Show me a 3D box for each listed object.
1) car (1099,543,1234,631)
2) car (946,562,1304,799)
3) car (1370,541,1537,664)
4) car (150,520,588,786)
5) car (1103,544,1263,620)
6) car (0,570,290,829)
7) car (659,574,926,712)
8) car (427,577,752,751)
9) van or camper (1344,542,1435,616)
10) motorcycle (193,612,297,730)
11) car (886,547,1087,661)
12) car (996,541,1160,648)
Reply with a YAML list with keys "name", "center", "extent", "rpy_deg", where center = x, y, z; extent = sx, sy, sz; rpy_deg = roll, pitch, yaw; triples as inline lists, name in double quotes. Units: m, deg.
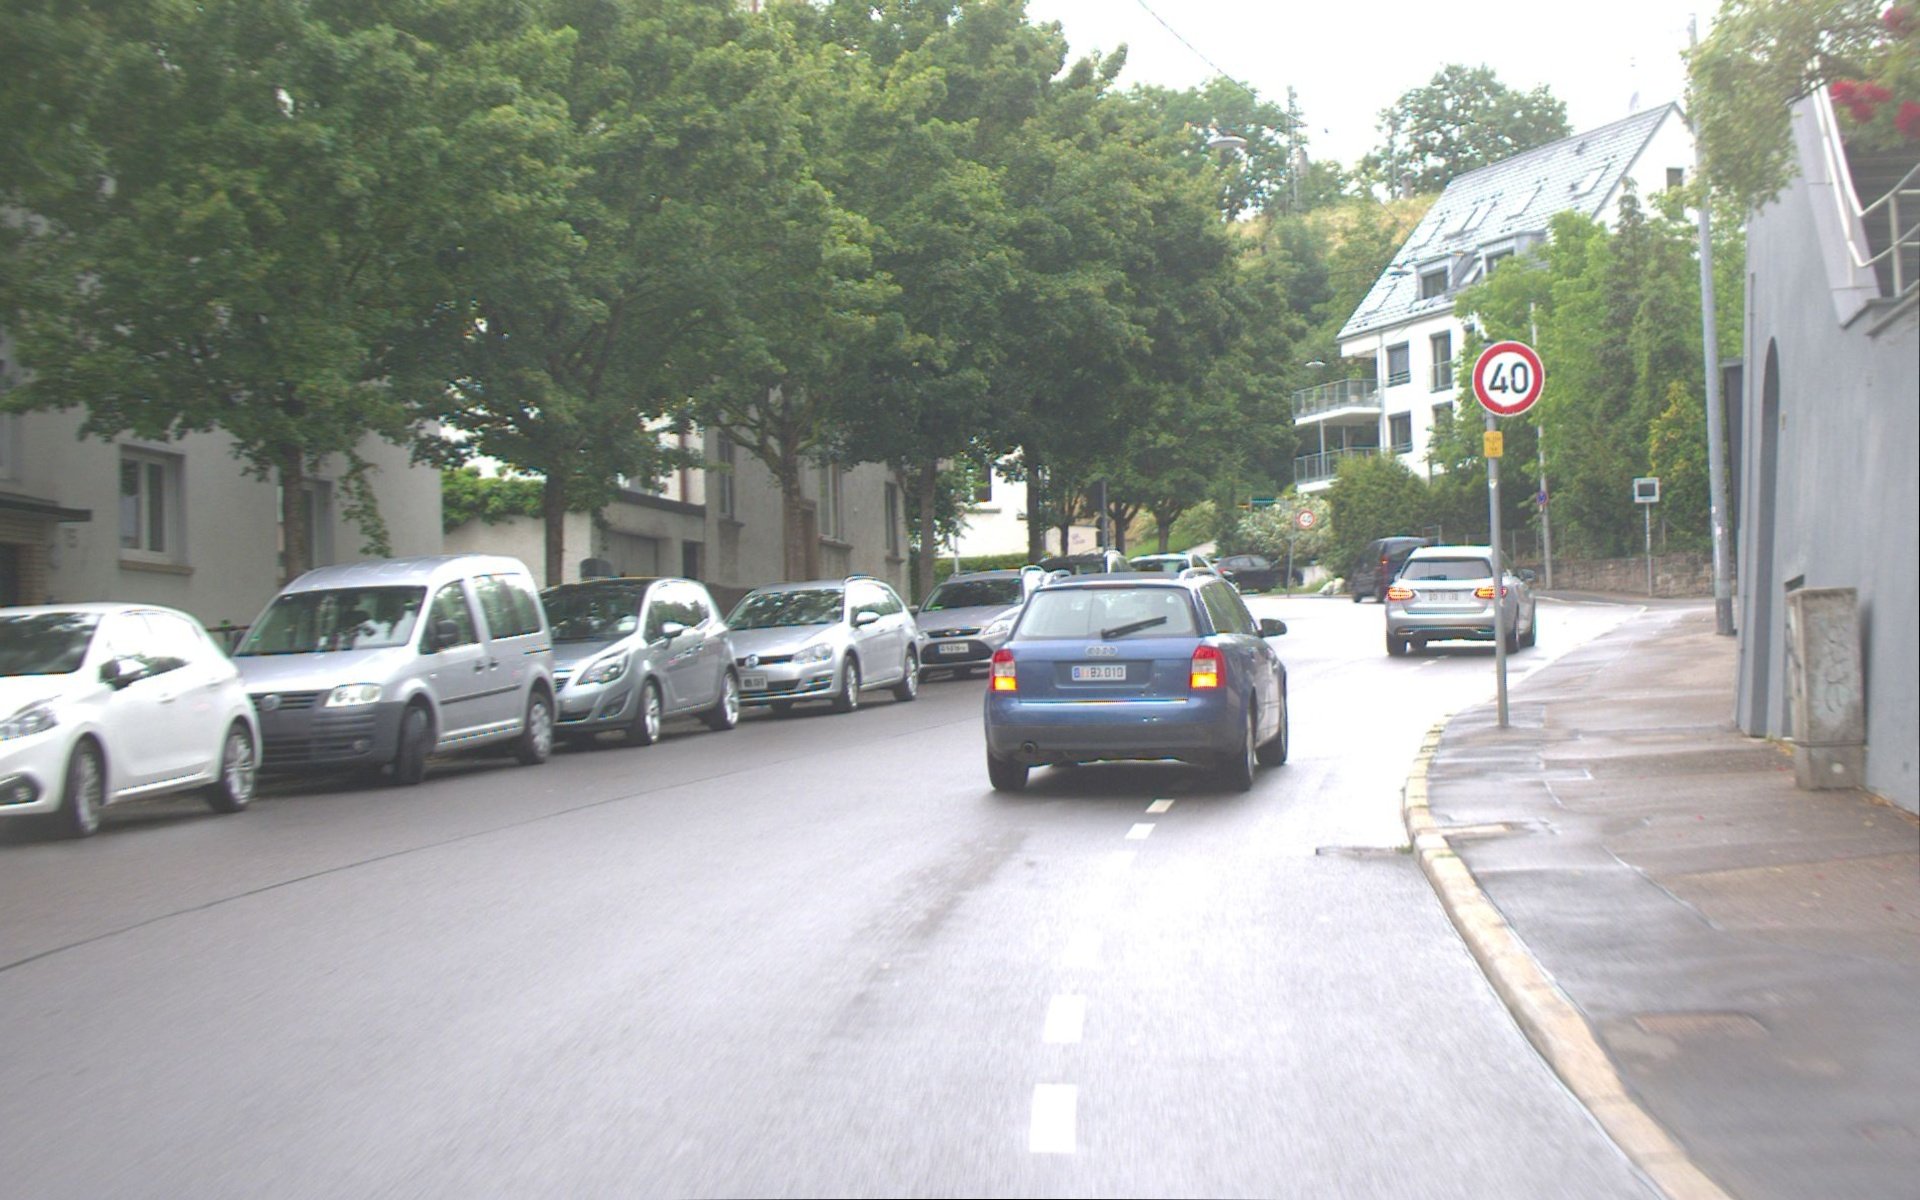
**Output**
- name: "car"
  center: [3.781, -0.257, 62.402]
  extent: [1.714, 1.457, 3.879]
  rpy_deg: [0, 2, 15]
- name: "car"
  center: [1.243, 0.489, 23.691]
  extent: [1.855, 1.409, 4.360]
  rpy_deg: [-1, 1, 11]
- name: "car"
  center: [6.916, -0.008, 47.885]
  extent: [1.951, 1.556, 4.261]
  rpy_deg: [2, 2, 12]
- name: "car"
  center: [-4.721, 0.411, 28.212]
  extent: [1.915, 1.994, 4.545]
  rpy_deg: [0, 0, 13]
- name: "car"
  center: [4.313, -0.344, 67.141]
  extent: [1.993, 1.386, 4.199]
  rpy_deg: [-1, 0, -13]
- name: "car"
  center: [-6.029, 0.659, 22.457]
  extent: [1.785, 1.509, 4.344]
  rpy_deg: [-4, -1, 9]
- name: "car"
  center: [-1.789, 0.462, 38.389]
  extent: [1.805, 1.448, 4.594]
  rpy_deg: [0, 0, 13]
- name: "car"
  center: [-3.488, 0.591, 33.201]
  extent: [1.805, 1.480, 4.233]
  rpy_deg: [-3, -1, 12]
- name: "van or camper"
  center: [12.300, -0.581, 98.717]
  extent: [1.993, 2.007, 4.000]
  rpy_deg: [0, -1, -1]
- name: "motorcycle"
  center: [-7.066, 0.688, 34.015]
  extent: [0.411, 1.095, 1.620]
  rpy_deg: [-2, 1, 9]
- name: "car"
  center: [0.438, 0.068, 49.008]
  extent: [1.806, 1.547, 4.796]
  rpy_deg: [0, 0, 14]
- name: "car"
  center: [1.933, -0.105, 55.140]
  extent: [1.806, 1.621, 4.137]
  rpy_deg: [-1, 0, 14]
